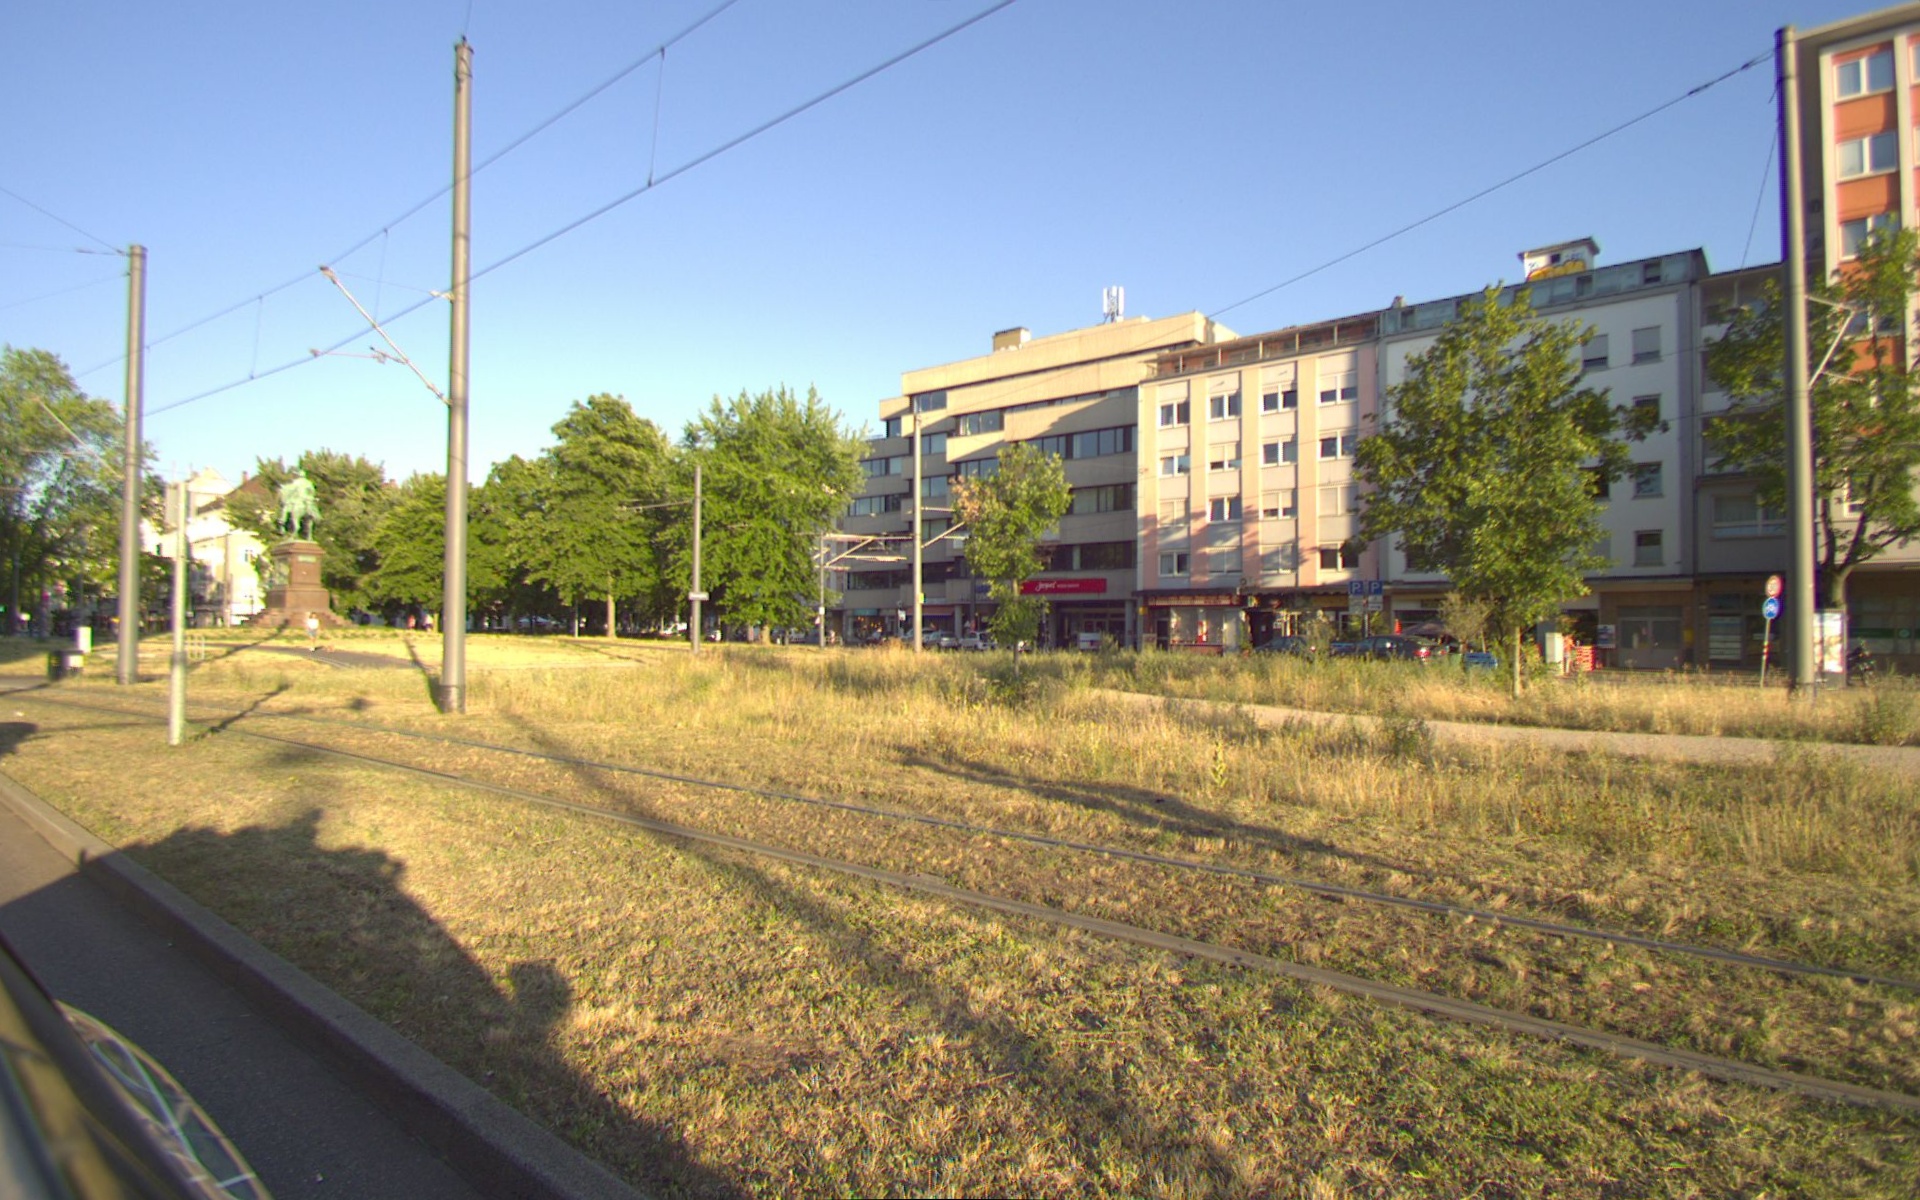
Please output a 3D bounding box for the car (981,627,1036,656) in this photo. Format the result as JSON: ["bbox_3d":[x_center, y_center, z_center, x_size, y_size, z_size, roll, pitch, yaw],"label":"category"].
[{"bbox_3d":[3.179,2.716,66.950,1.892,1.878,4.013,1,-2,-27],"label":"car"}]

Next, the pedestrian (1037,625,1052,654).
[{"bbox_3d":[5.648,2.627,67.618,0.700,1.949,0.683,-2,-2,41],"label":"pedestrian"}]

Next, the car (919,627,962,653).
[{"bbox_3d":[-1.525,3.011,77.055,1.965,1.893,4.013,1,-2,-23],"label":"car"}]

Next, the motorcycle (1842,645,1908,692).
[{"bbox_3d":[26.588,1.981,29.410,1.390,1.328,0.376,-2,-2,43],"label":"motorcycle"}]

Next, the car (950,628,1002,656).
[{"bbox_3d":[1.093,2.942,71.538,1.965,1.893,4.013,1,-2,-27],"label":"car"}]

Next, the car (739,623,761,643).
[{"bbox_3d":[-23.518,3.667,113.104,1.966,2.029,4.012,-1,0,-18],"label":"car"}]

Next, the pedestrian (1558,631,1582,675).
[{"bbox_3d":[24.705,2.146,40.993,0.698,1.764,0.642,-2,-2,41],"label":"pedestrian"}]

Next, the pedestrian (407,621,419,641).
[{"bbox_3d":[-46.240,2.636,85.508,0.635,1.682,0.702,-1,-2,41],"label":"pedestrian"}]

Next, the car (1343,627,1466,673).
[{"bbox_3d":[17.268,1.894,39.514,1.965,1.697,4.012,1,-2,-28],"label":"car"}]

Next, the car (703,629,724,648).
[{"bbox_3d":[-27.761,4.321,113.973,1.966,2.029,4.012,-1,0,-18],"label":"car"}]

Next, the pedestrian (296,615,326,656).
[{"bbox_3d":[-27.607,1.501,43.038,0.797,1.741,0.880,-2,-2,41],"label":"pedestrian"}]

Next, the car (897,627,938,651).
[{"bbox_3d":[-3.464,3.132,81.991,1.965,1.951,4.013,1,-2,-25],"label":"car"}]

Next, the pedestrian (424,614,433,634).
[{"bbox_3d":[-45.192,2.007,86.008,0.512,1.707,0.528,-1,-2,41],"label":"pedestrian"}]

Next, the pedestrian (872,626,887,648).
[{"bbox_3d":[-7.339,3.366,92.245,0.892,2.051,1.123,-2,-2,43],"label":"pedestrian"}]
